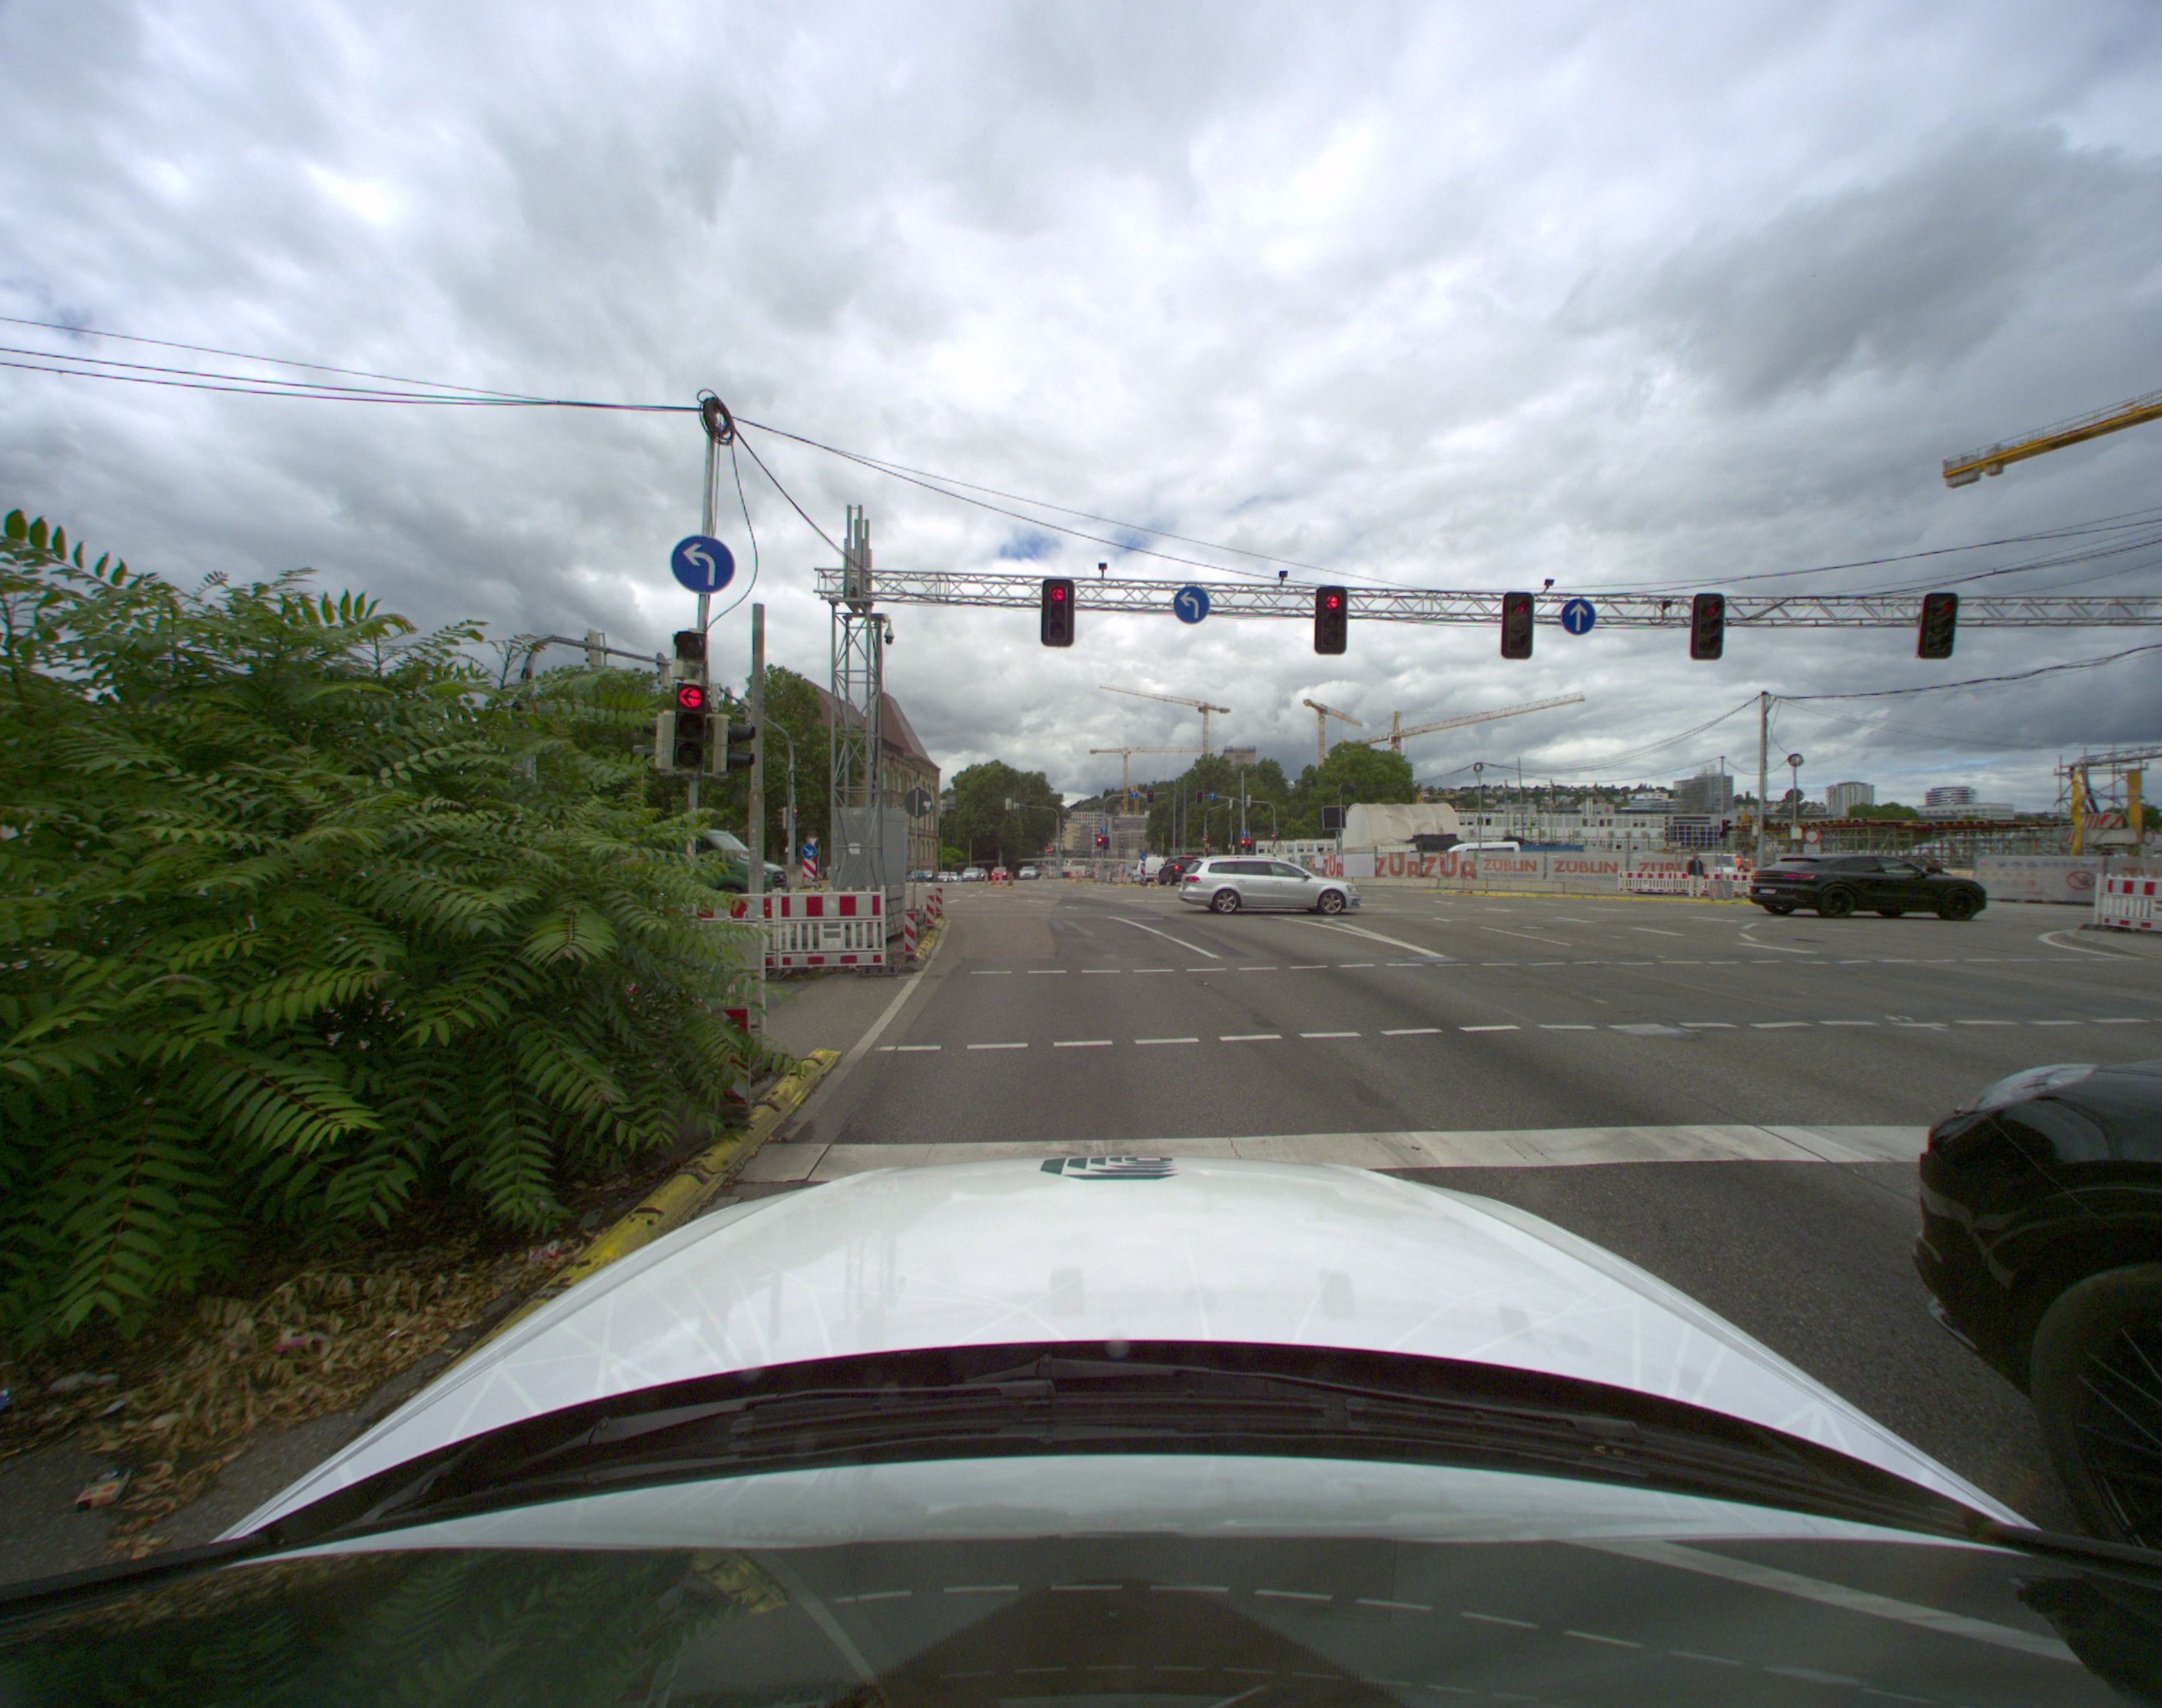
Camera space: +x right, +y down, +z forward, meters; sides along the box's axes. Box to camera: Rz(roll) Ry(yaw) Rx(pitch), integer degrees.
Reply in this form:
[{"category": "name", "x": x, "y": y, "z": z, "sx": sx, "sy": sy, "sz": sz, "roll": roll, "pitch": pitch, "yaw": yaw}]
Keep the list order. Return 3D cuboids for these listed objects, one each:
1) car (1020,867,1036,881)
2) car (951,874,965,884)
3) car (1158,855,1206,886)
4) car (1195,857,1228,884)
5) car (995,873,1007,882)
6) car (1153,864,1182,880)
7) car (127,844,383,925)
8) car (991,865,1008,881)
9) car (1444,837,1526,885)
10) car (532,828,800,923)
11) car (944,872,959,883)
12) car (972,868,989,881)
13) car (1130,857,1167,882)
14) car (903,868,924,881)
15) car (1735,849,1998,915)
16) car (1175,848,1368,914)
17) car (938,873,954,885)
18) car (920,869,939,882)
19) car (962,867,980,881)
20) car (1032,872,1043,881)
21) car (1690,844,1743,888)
[{"category": "car", "x": -5.586, "y": 2.069, "z": 85.332, "sx": 1.673, "sy": 1.398, "sz": 3.677, "roll": 0, "pitch": -1, "yaw": -4}, {"category": "car", "x": -17.496, "y": 3.557, "z": 116.320, "sx": 1.673, "sy": 1.398, "sz": 3.677, "roll": 0, "pitch": -1, "yaw": -4}, {"category": "car", "x": 5.956, "y": 0.939, "z": 48.492, "sx": 1.830, "sy": 1.746, "sz": 4.244, "roll": 0, "pitch": -1, "yaw": -8}, {"category": "car", "x": 8.476, "y": 1.054, "z": 52.999, "sx": 1.670, "sy": 1.702, "sz": 3.375, "roll": 0, "pitch": -1, "yaw": 2}, {"category": "car", "x": -12.440, "y": 3.606, "z": 126.471, "sx": 1.673, "sy": 1.398, "sz": 3.677, "roll": 0, "pitch": -1, "yaw": -4}, {"category": "car", "x": 8.018, "y": 1.680, "z": 75.958, "sx": 1.680, "sy": 1.398, "sz": 3.069, "roll": 0, "pitch": -1, "yaw": -16}, {"category": "car", "x": -20.266, "y": 0.718, "z": 20.152, "sx": 4.258, "sy": 1.882, "sz": 1.828, "roll": 0, "pitch": -1, "yaw": -4}, {"category": "car", "x": -8.481, "y": 1.996, "z": 85.091, "sx": 1.673, "sy": 1.580, "sz": 3.677, "roll": 0, "pitch": -1, "yaw": -4}, {"category": "car", "x": 23.227, "y": 0.421, "z": 46.971, "sx": 3.957, "sy": 2.662, "sz": 1.688, "roll": -1, "pitch": -1, "yaw": 15}, {"category": "car", "x": -10.601, "y": 0.536, "z": 21.241, "sx": 5.745, "sy": 2.305, "sz": 2.301, "roll": 0, "pitch": -1, "yaw": -3}, {"category": "car", "x": -17.343, "y": 3.176, "z": 109.213, "sx": 1.673, "sy": 1.398, "sz": 3.676, "roll": -1, "pitch": -4, "yaw": -4}, {"category": "car", "x": -11.367, "y": 2.268, "z": 92.233, "sx": 1.673, "sy": 1.398, "sz": 3.677, "roll": 0, "pitch": -1, "yaw": -4}, {"category": "car", "x": 4.564, "y": 1.016, "z": 55.577, "sx": 1.814, "sy": 1.625, "sz": 3.992, "roll": 0, "pitch": -1, "yaw": -5}, {"category": "car", "x": -17.907, "y": 2.172, "z": 87.087, "sx": 1.673, "sy": 1.398, "sz": 3.677, "roll": 0, "pitch": -1, "yaw": -4}, {"category": "car", "x": 20.251, "y": 0.704, "z": 21.182, "sx": 4.787, "sy": 1.625, "sz": 2.022, "roll": 0, "pitch": -1, "yaw": 3}, {"category": "car", "x": 4.921, "y": 0.682, "z": 21.449, "sx": 4.697, "sy": 1.625, "sz": 1.680, "roll": 0, "pitch": -1, "yaw": -2}, {"category": "car", "x": -16.916, "y": 3.132, "z": 101.927, "sx": 1.673, "sy": 1.398, "sz": 3.677, "roll": 0, "pitch": -1, "yaw": -4}, {"category": "car", "x": -17.400, "y": 2.451, "z": 93.505, "sx": 1.673, "sy": 1.398, "sz": 3.677, "roll": 0, "pitch": -1, "yaw": -4}, {"category": "car", "x": -11.621, "y": 2.118, "z": 86.075, "sx": 1.673, "sy": 1.398, "sz": 3.677, "roll": 0, "pitch": -1, "yaw": -4}, {"category": "car", "x": -7.064, "y": 3.610, "z": 131.498, "sx": 1.673, "sy": 1.398, "sz": 3.677, "roll": 0, "pitch": -1, "yaw": -4}, {"category": "car", "x": 30.129, "y": 0.559, "z": 38.698, "sx": 1.755, "sy": 1.954, "sz": 3.146, "roll": -1, "pitch": -1, "yaw": 34}]
